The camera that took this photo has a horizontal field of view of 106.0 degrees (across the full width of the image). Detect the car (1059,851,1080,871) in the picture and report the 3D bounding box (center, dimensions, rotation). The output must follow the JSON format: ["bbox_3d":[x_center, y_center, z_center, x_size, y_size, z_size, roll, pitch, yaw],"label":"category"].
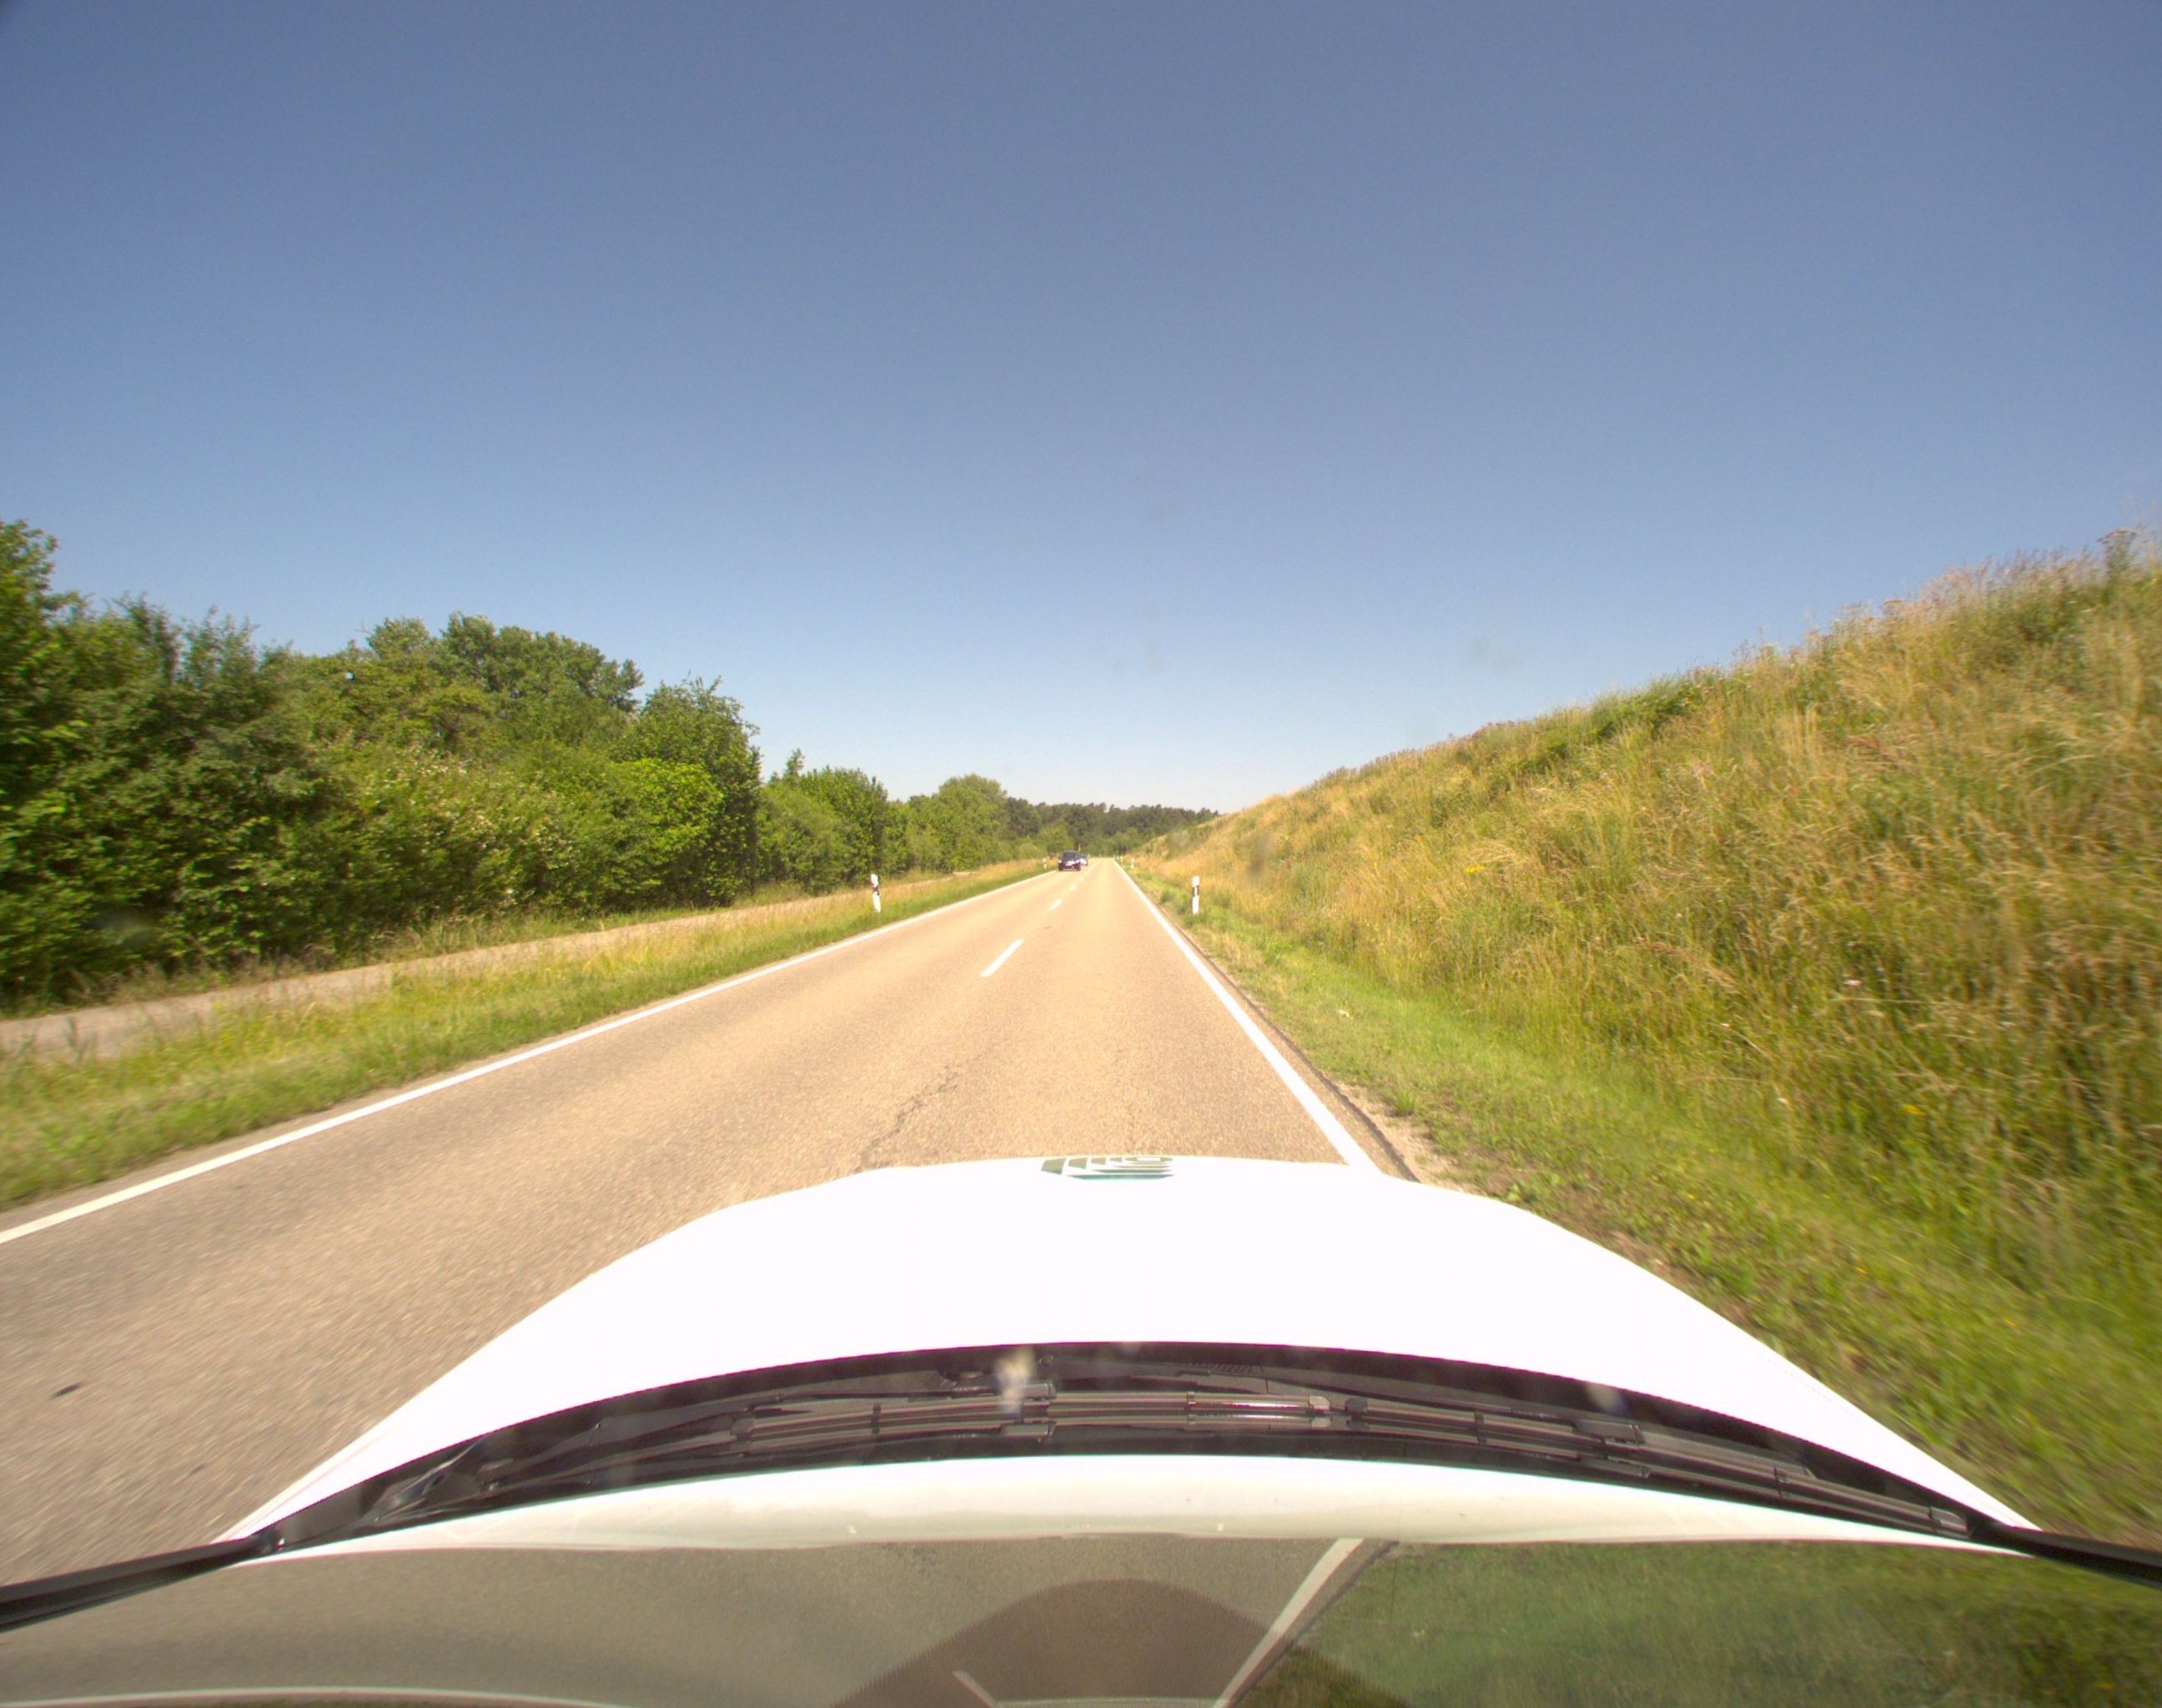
[{"bbox_3d":[-0.955,0.576,69.309,1.710,1.647,3.916,0,0,1],"label":"car"}]

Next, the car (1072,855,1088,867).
[{"bbox_3d":[-0.109,0.838,96.683,1.716,1.354,4.001,1,0,2],"label":"car"}]
